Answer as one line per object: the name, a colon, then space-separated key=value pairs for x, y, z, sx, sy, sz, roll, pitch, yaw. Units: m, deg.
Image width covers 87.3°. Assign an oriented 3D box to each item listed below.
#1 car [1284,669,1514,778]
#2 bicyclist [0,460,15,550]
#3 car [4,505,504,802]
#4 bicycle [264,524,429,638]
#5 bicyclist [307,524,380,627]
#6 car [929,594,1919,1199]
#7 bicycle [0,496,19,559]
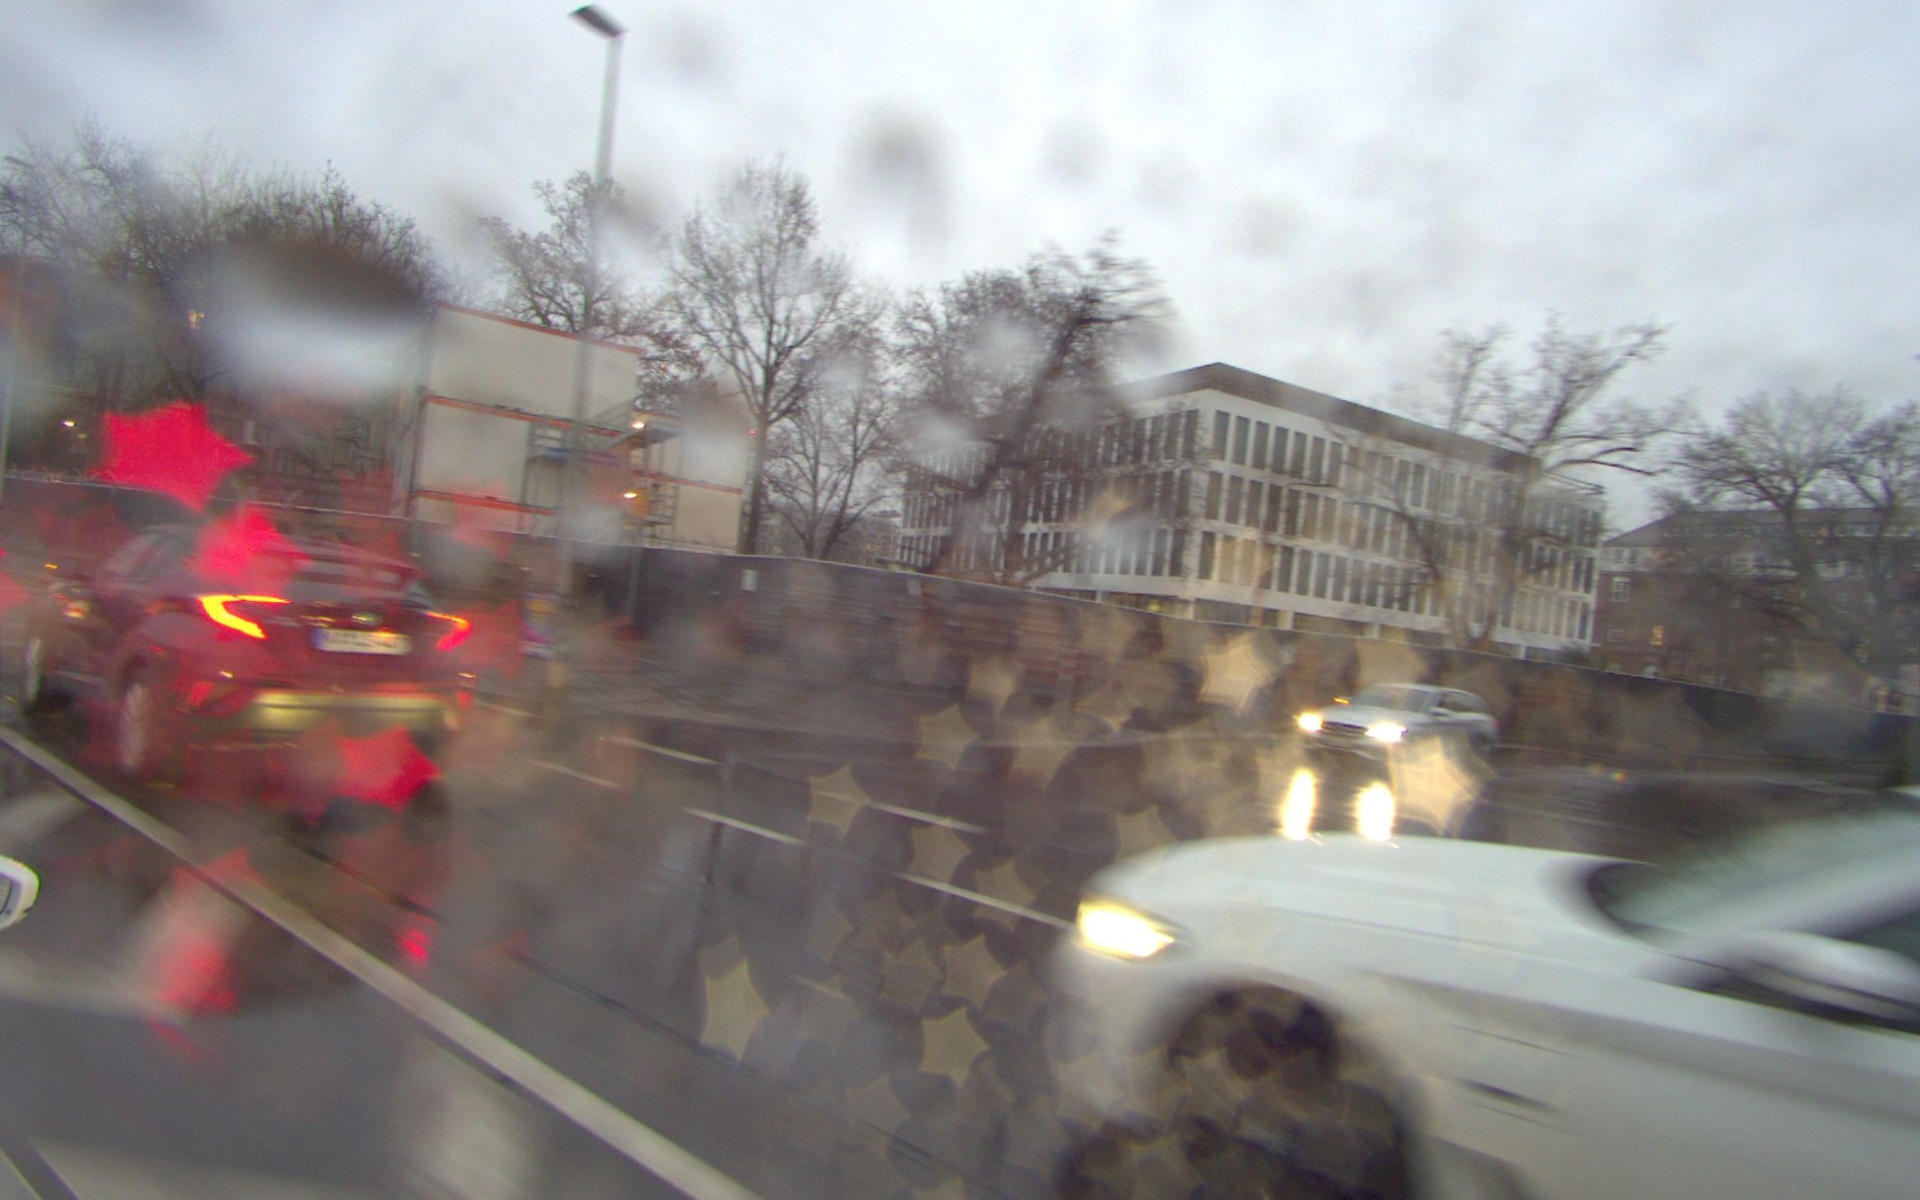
car: x=7.891 y=2.204 z=17.878 sx=4.484 sy=1.507 sz=1.861 roll=8 pitch=-1 yaw=-40
bicyclist: x=-19.620 y=-1.956 z=20.263 sx=0.823 sy=1.789 sz=0.500 roll=7 pitch=1 yaw=29
car: x=-5.094 y=0.253 z=7.065 sx=3.942 sy=1.496 sz=1.723 roll=5 pitch=-3 yaw=39
bicycle: x=-10.789 y=-0.304 z=17.777 sx=2.215 sy=1.676 sz=0.687 roll=8 pitch=-2 yaw=-19
bicyclist: x=-10.841 y=-0.425 z=17.719 sx=0.806 sy=1.699 sz=0.694 roll=6 pitch=0 yaw=-20
car: x=2.469 y=1.050 z=2.367 sx=4.890 sy=1.519 sz=1.788 roll=7 pitch=-1 yaw=36
bicycle: x=-19.650 y=-1.523 z=20.220 sx=1.994 sy=1.200 sz=0.412 roll=7 pitch=1 yaw=29
